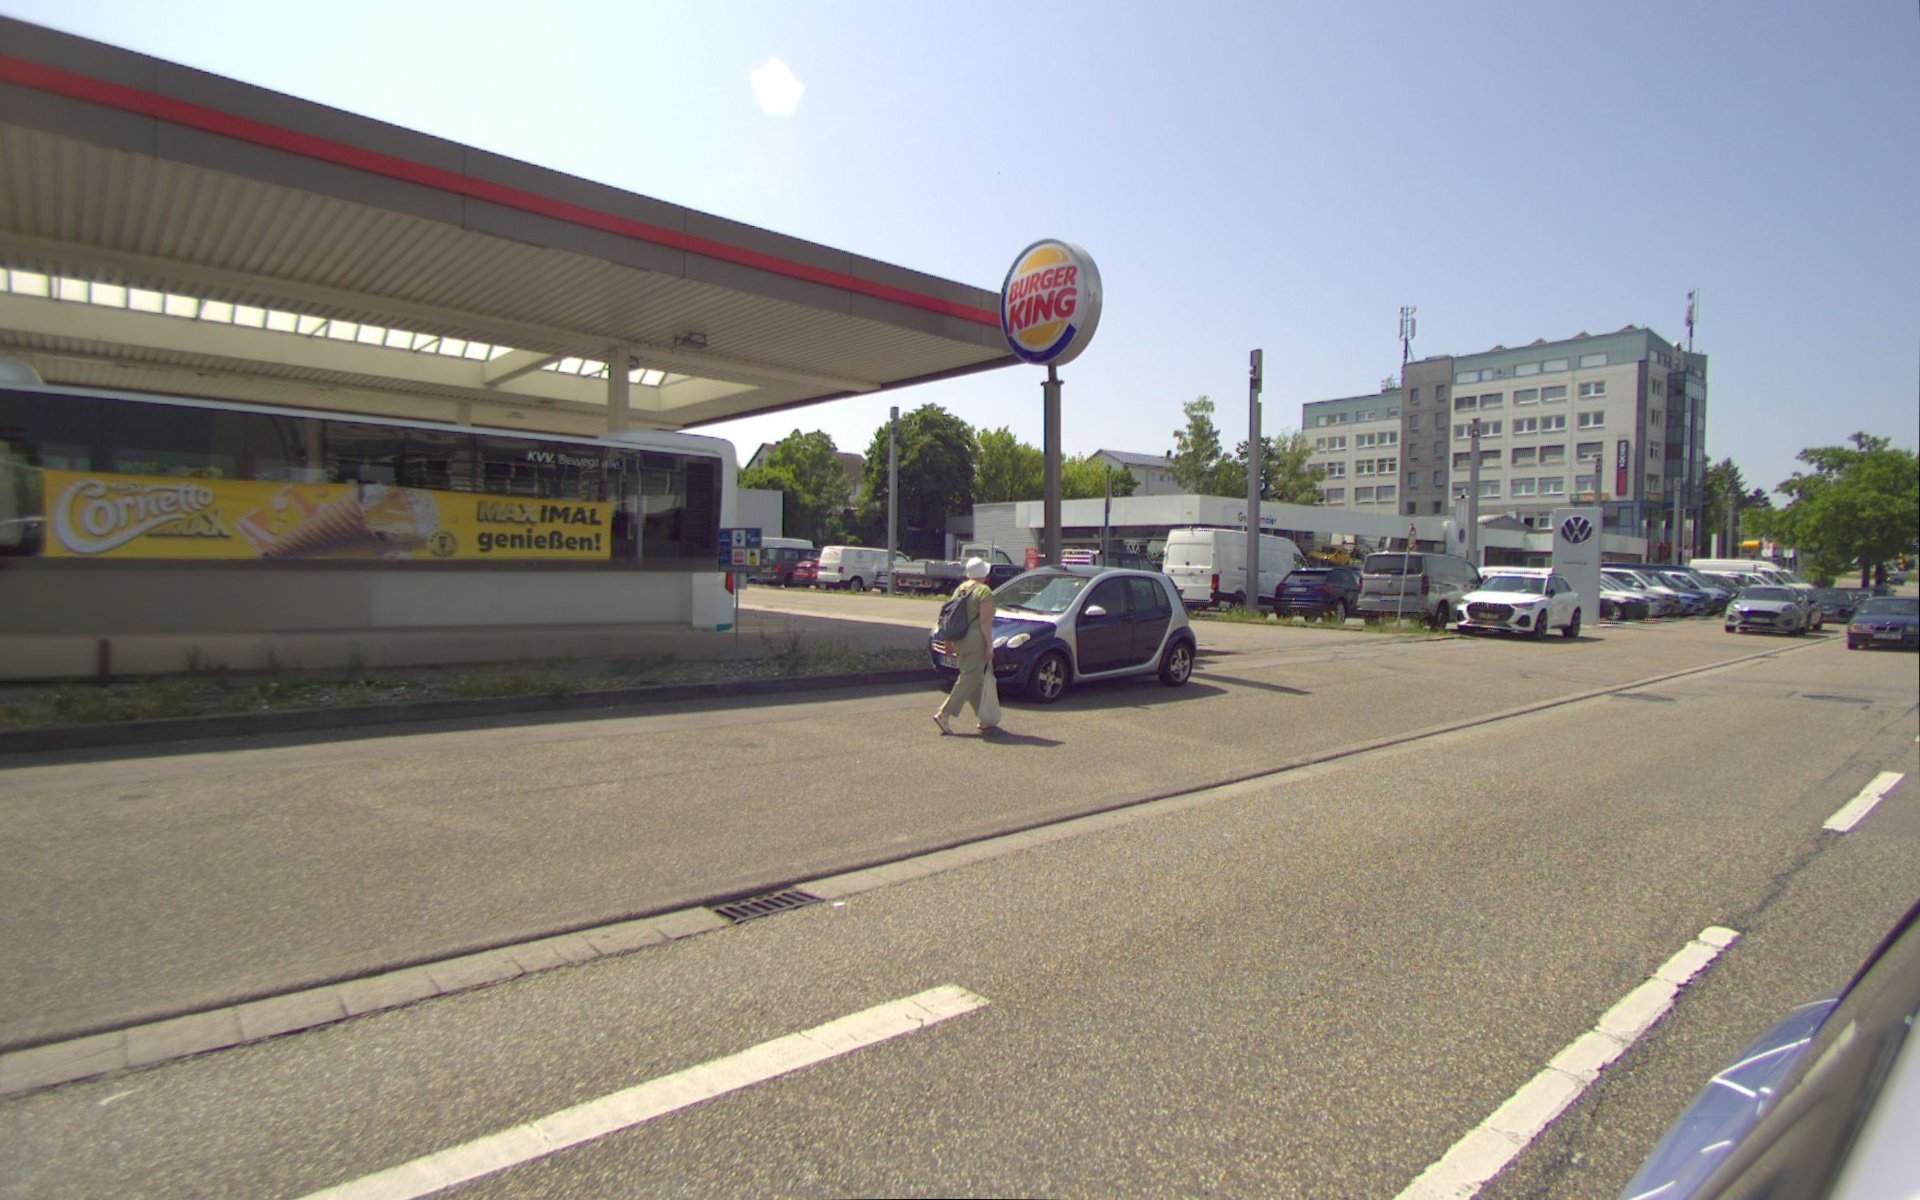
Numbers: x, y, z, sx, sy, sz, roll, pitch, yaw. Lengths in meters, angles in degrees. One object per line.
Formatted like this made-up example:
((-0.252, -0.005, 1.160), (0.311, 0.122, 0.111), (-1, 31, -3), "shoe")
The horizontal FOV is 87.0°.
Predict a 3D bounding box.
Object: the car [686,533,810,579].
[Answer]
((-11.025, -2.281, 53.036), (6.279, 2.265, 1.996), (-1, 2, -44), "car")

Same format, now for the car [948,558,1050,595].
((1.504, -0.886, 38.281), (3.718, 1.320, 1.751), (-1, 3, -43), "car")

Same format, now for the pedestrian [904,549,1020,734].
((0.006, 0.357, 9.304), (0.803, 1.600, 0.706), (2, 4, -20), "pedestrian")

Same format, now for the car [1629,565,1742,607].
((33.198, -0.675, 46.379), (3.987, 1.808, 1.698), (3, 3, 43), "car")

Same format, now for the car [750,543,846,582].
((-7.758, -1.789, 48.648), (4.134, 1.780, 1.977), (-1, 3, -42), "car")

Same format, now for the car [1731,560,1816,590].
((50.772, -1.566, 63.180), (3.987, 1.787, 1.698), (3, 3, 43), "car")

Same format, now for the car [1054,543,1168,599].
((5.196, -0.994, 34.581), (3.932, 1.816, 1.751), (-1, 3, -43), "car")

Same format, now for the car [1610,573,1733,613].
((29.665, -0.327, 42.278), (3.987, 1.467, 1.698), (3, 3, 43), "car")

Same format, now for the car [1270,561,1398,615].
((10.580, -0.358, 28.502), (3.933, 1.393, 1.805), (-1, 3, -43), "car")

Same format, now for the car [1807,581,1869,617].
((37.292, -0.075, 42.946), (4.145, 1.415, 1.560), (-1, 3, -43), "car")

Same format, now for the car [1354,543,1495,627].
((12.242, -0.435, 26.572), (3.933, 2.038, 1.996), (-1, 3, -43), "car")

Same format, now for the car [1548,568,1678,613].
((25.287, -0.402, 39.250), (3.987, 1.597, 1.698), (3, 3, 43), "car")

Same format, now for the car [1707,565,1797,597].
((46.666, -1.145, 59.681), (3.987, 1.787, 1.698), (3, 3, 43), "car")

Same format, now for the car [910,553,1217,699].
((1.374, 0.219, 12.442), (3.777, 1.466, 1.679), (-1, 4, -44), "car")

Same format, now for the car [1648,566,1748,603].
((38.212, -0.831, 52.433), (3.987, 1.787, 1.698), (3, 3, 43), "car")

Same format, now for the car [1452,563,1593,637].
((13.973, -0.046, 25.065), (3.933, 1.600, 1.858), (-1, 4, -43), "car")

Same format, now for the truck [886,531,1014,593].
((-0.354, -1.504, 40.412), (4.941, 2.350, 2.241), (-1, 3, -45), "truck")

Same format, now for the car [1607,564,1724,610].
((30.988, -0.592, 44.492), (3.987, 1.871, 1.698), (3, 3, 43), "car")

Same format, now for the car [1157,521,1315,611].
((8.393, -1.022, 30.398), (5.484, 2.465, 2.055), (-1, 3, -44), "car")

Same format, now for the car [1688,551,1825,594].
((52.053, -1.871, 66.300), (6.868, 2.636, 1.698), (3, 3, 43), "car")

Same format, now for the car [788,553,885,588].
((-5.648, -1.361, 46.606), (4.134, 1.523, 1.842), (-1, 3, -42), "car")

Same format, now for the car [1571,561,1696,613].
((27.344, -0.563, 41.143), (3.987, 1.941, 1.698), (3, 3, 43), "car")

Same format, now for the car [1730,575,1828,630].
((25.704, 0.041, 31.726), (3.933, 1.578, 1.864), (-1, 3, -43), "car")

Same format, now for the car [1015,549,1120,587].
((3.937, -1.153, 36.741), (3.718, 1.320, 1.751), (-1, 3, -43), "car")

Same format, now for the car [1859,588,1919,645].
((24.365, 0.393, 26.056), (1.628, 1.356, 3.697), (1, 2, 44), "car")

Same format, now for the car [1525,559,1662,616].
((23.230, -0.504, 37.175), (3.987, 1.942, 1.698), (3, 3, 43), "car")

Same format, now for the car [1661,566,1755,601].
((41.294, -0.944, 55.918), (3.987, 1.787, 1.698), (3, 3, 43), "car")

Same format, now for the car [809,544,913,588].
((-4.314, -1.476, 44.394), (4.134, 1.853, 1.997), (-1, 3, -42), "car")

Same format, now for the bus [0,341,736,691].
((-7.400, -0.849, 12.220), (8.918, 3.191, 2.755), (-1, 3, -40), "bus")
